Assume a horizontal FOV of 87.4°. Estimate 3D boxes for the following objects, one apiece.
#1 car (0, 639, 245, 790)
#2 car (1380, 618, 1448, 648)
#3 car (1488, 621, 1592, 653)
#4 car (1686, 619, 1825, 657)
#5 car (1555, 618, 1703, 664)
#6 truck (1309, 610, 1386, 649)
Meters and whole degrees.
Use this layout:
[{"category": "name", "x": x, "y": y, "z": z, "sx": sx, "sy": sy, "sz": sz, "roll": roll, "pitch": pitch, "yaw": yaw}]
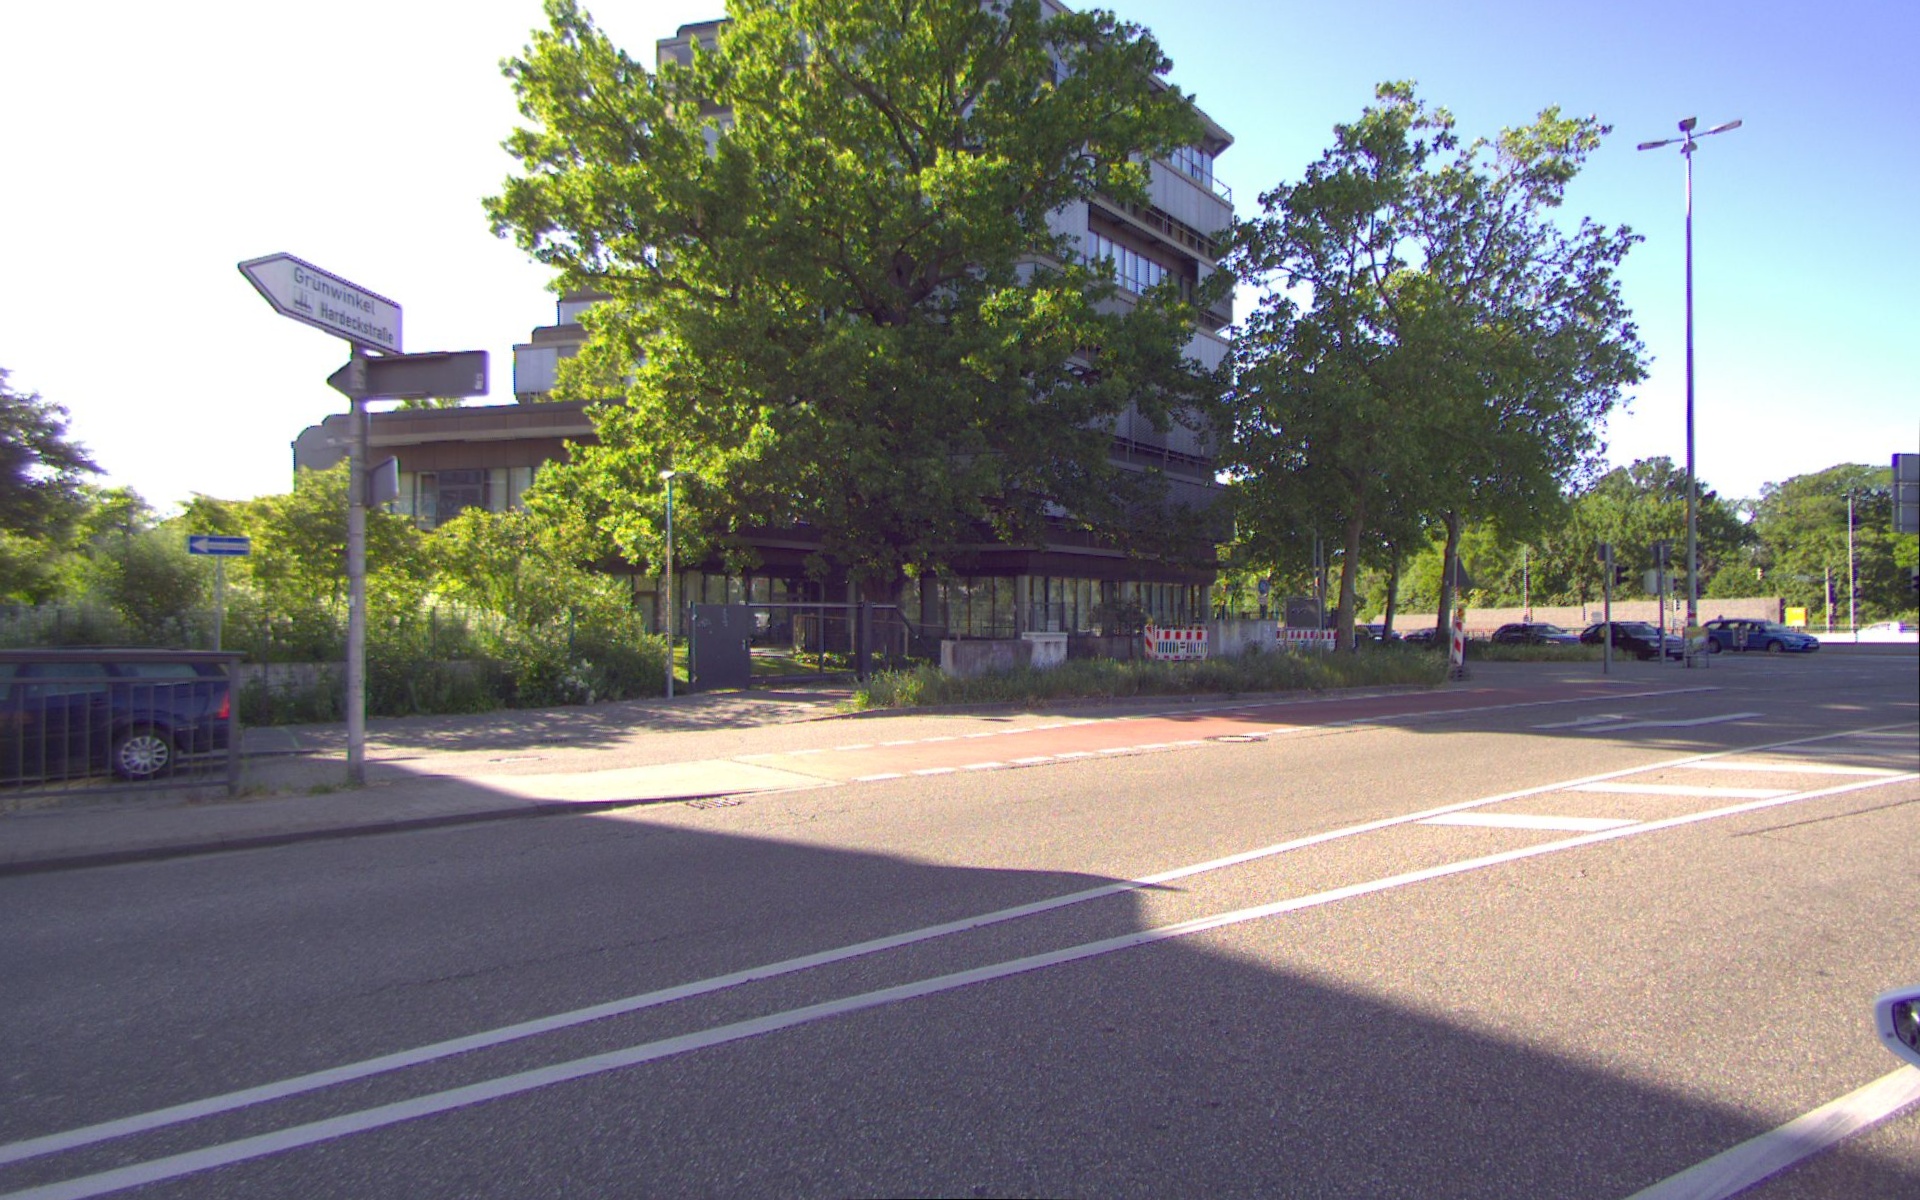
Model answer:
[{"category": "car", "x": -10.761, "y": 1.301, "z": 11.329, "sx": 4.339, "sy": 1.528, "sz": 1.642, "roll": -1, "pitch": -3, "yaw": -38}, {"category": "car", "x": 26.071, "y": 1.851, "z": 57.823, "sx": 1.843, "sy": 1.666, "sz": 4.509, "roll": 0, "pitch": -1, "yaw": -1}, {"category": "car", "x": 26.092, "y": 1.633, "z": 45.389, "sx": 1.844, "sy": 1.376, "sz": 4.507, "roll": 0, "pitch": -1, "yaw": -4}, {"category": "car", "x": 34.330, "y": 1.612, "z": 43.504, "sx": 1.919, "sy": 1.561, "sz": 4.443, "roll": 0, "pitch": -1, "yaw": -16}, {"category": "car", "x": 25.810, "y": 1.531, "z": 38.981, "sx": 1.918, "sy": 1.643, "sz": 4.773, "roll": 0, "pitch": -1, "yaw": -13}, {"category": "truck", "x": 25.622, "y": 1.917, "z": 66.781, "sx": 2.121, "sy": 2.391, "sz": 7.515, "roll": 0, "pitch": -1, "yaw": -1}]
